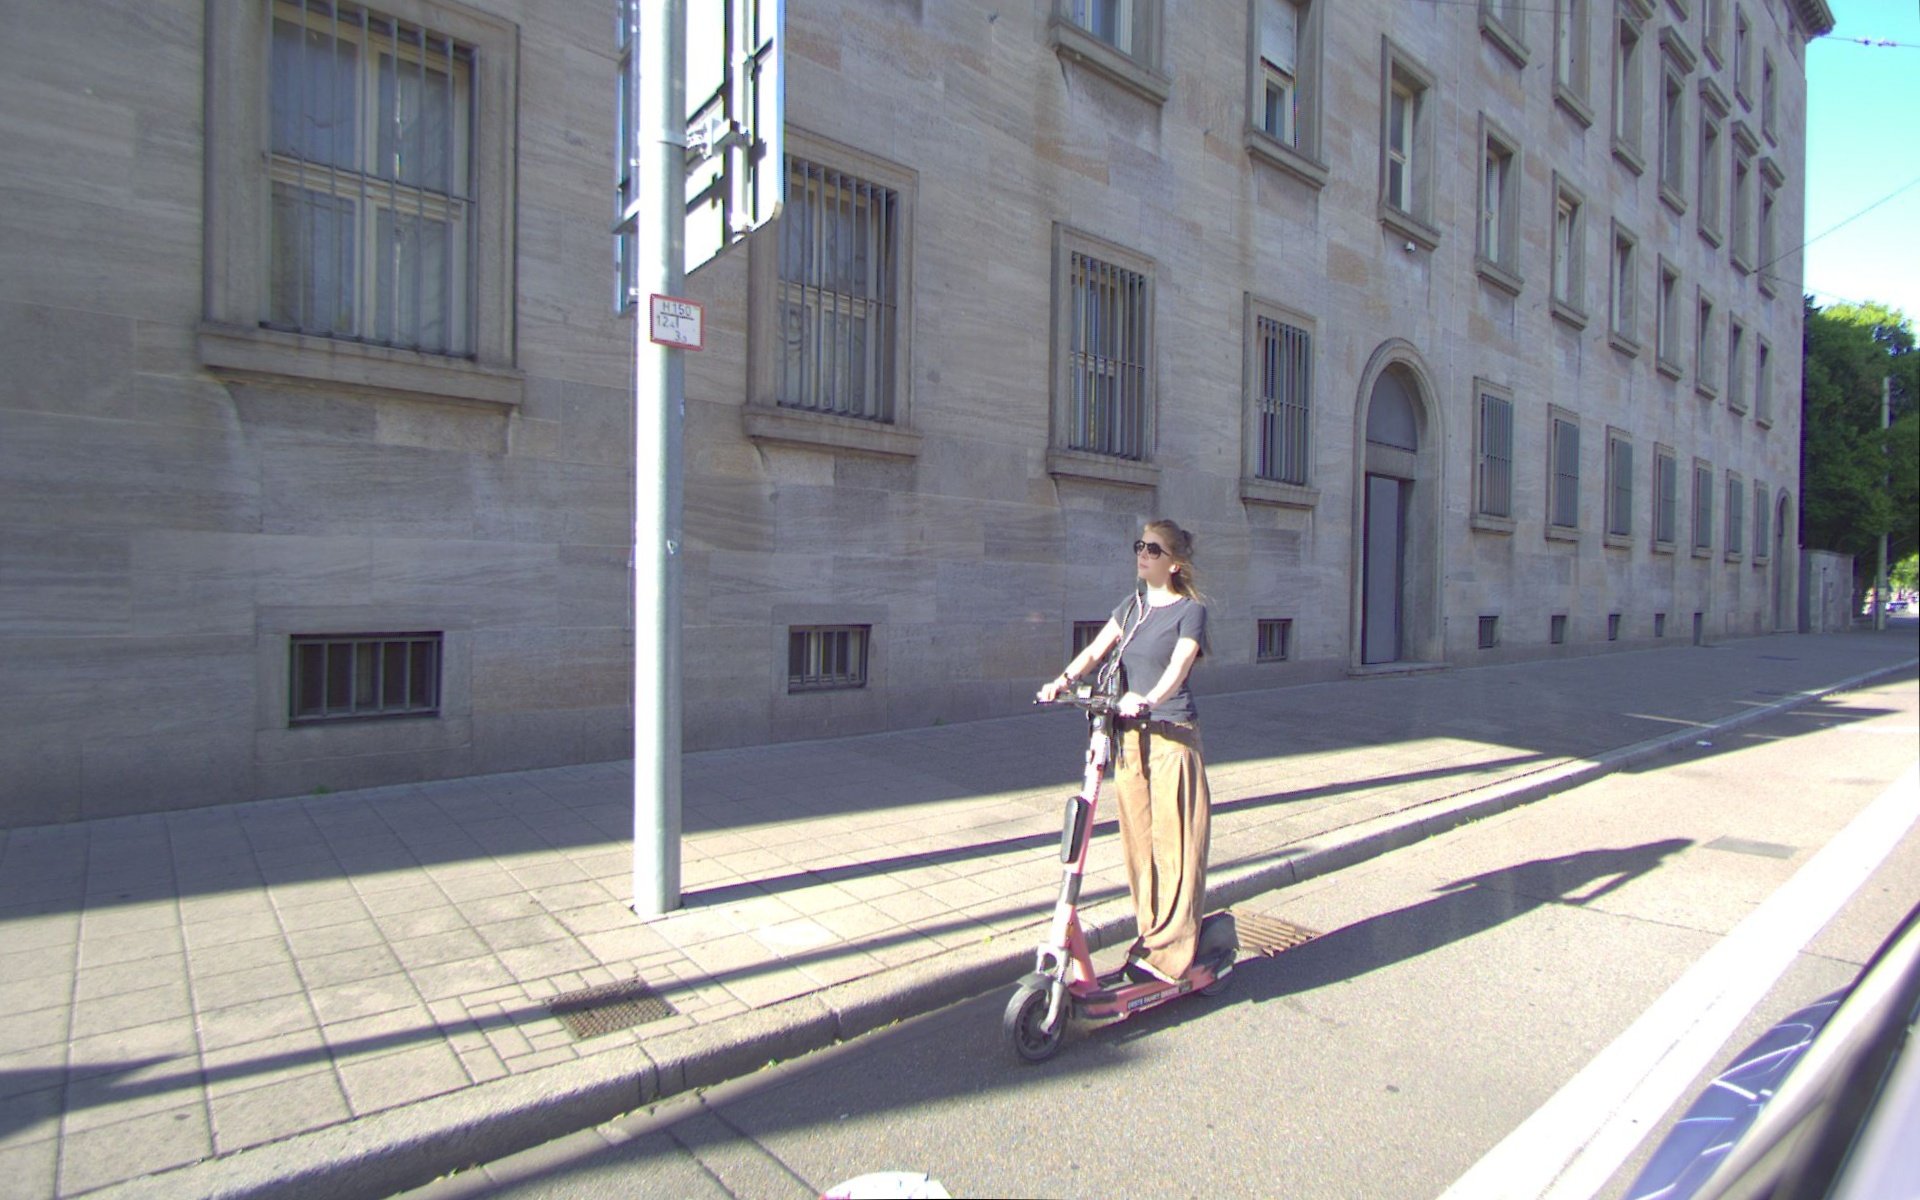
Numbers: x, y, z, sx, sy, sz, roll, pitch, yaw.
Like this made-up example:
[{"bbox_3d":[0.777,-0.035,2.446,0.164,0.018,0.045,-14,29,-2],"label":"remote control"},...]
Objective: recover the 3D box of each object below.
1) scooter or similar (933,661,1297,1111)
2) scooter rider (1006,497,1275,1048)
[{"bbox_3d":[0.583,0.859,3.537,1.305,1.200,0.535,0,1,-42],"label":"scooter or similar"},{"bbox_3d":[0.622,0.519,3.560,0.547,1.692,0.730,0,1,-41],"label":"scooter rider"}]
